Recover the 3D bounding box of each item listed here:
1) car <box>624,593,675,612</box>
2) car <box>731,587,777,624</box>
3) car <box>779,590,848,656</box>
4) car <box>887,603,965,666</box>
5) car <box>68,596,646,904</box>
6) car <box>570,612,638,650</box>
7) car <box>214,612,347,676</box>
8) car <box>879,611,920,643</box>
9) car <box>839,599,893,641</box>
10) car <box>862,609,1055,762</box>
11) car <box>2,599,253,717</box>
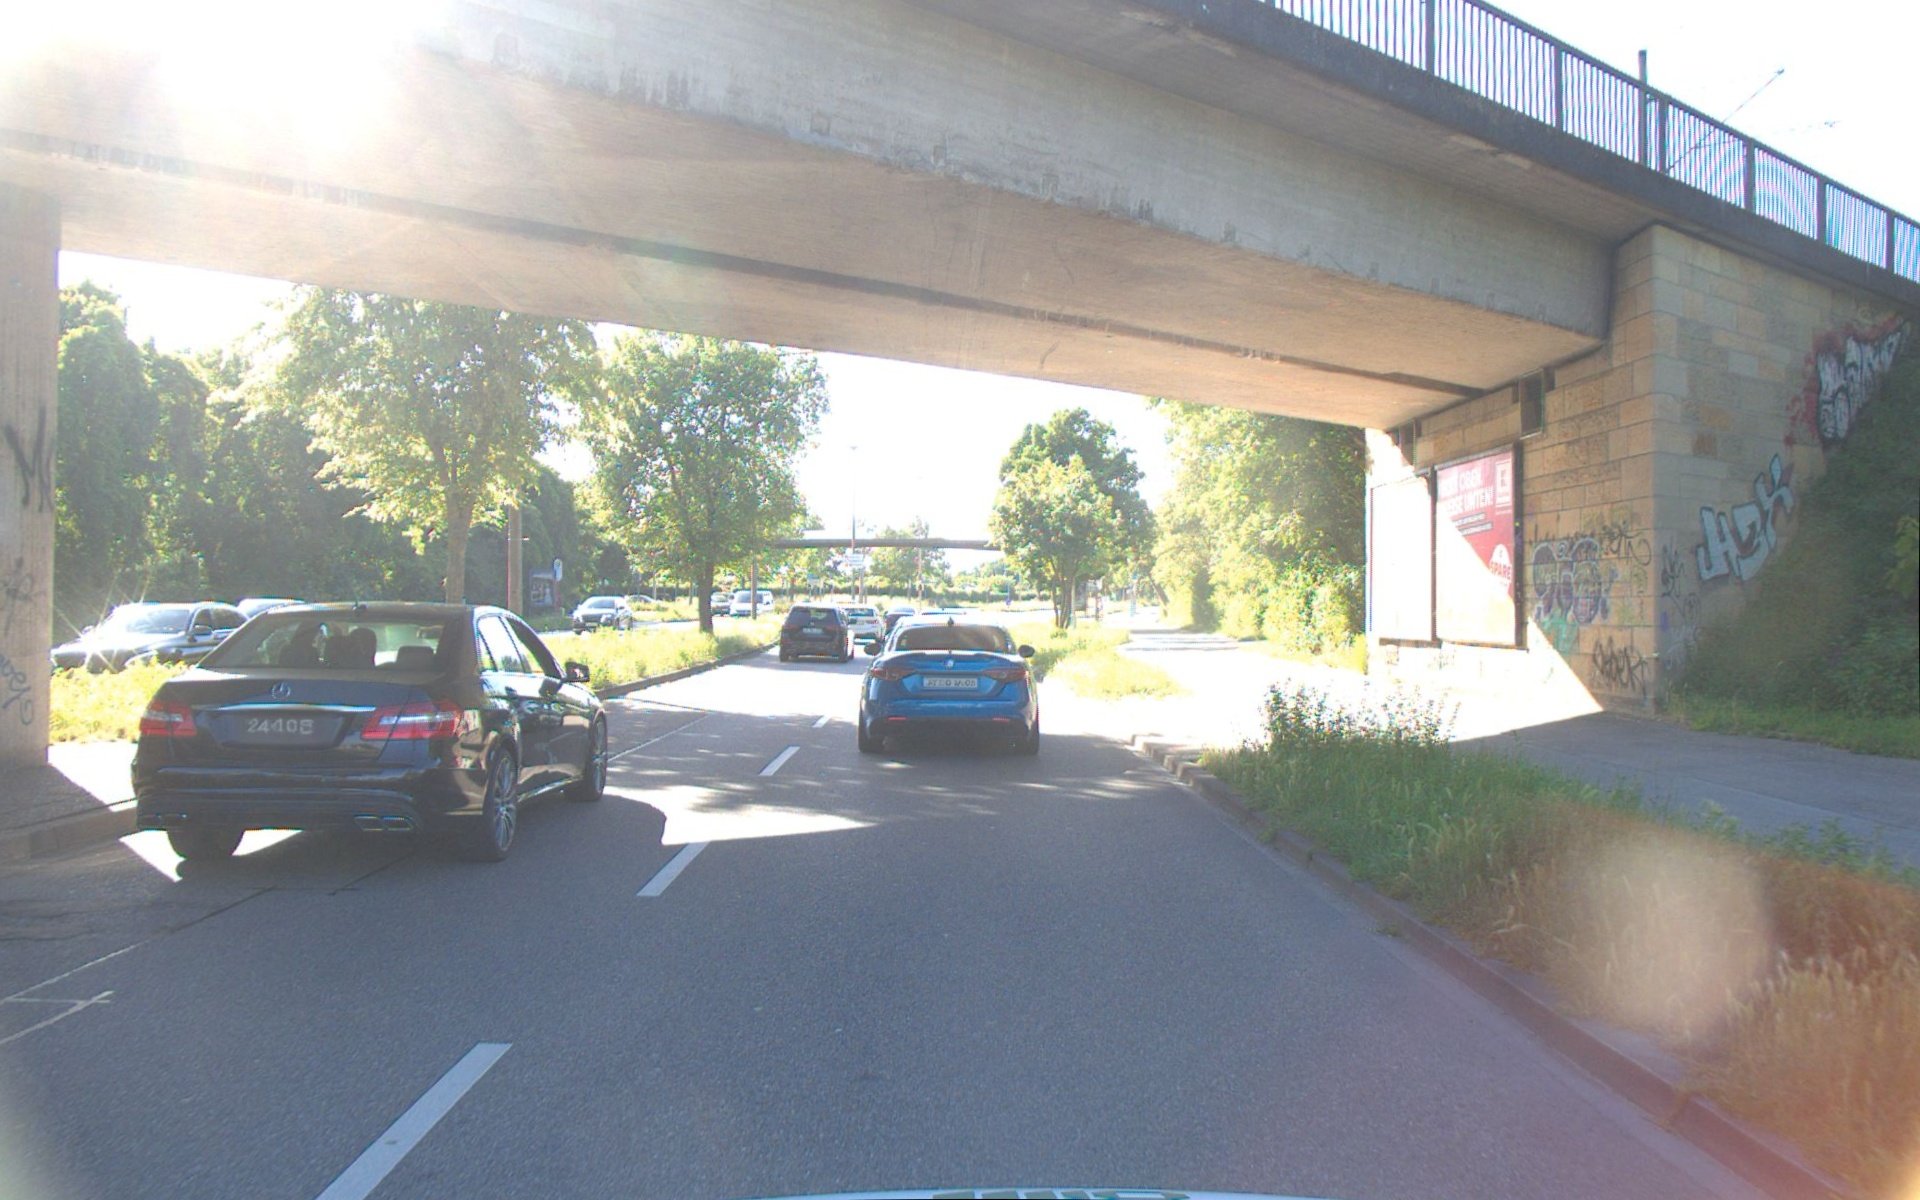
[{"bbox_3d":[-28.766,0.236,153.223,4.217,1.679,2.000,1,-1,19],"label":"car"},{"bbox_3d":[-11.386,0.312,91.520,1.953,1.963,5.244,0,0,-1],"label":"car"},{"bbox_3d":[-3.842,0.607,43.911,1.674,1.626,4.221,1,0,-3],"label":"car"},{"bbox_3d":[-0.855,0.851,42.016,1.845,1.479,4.525,1,0,-1],"label":"car"},{"bbox_3d":[-3.451,0.750,10.657,1.919,1.509,4.918,1,0,0],"label":"car"},{"bbox_3d":[-15.550,1.338,72.452,1.942,1.579,4.592,2,0,0],"label":"car"},{"bbox_3d":[-16.682,1.046,40.759,1.805,1.487,3.638,-1,0,-1],"label":"car"},{"bbox_3d":[-2.918,1.303,80.696,1.845,1.479,4.525,1,0,-1],"label":"car"},{"bbox_3d":[-3.549,0.747,63.022,1.845,1.479,4.525,1,0,-1],"label":"car"},{"bbox_3d":[-0.041,0.847,18.171,1.845,1.431,4.223,1,0,-1],"label":"car"},{"bbox_3d":[-12.563,0.829,25.273,1.805,1.570,3.999,-3,0,-1],"label":"car"}]
